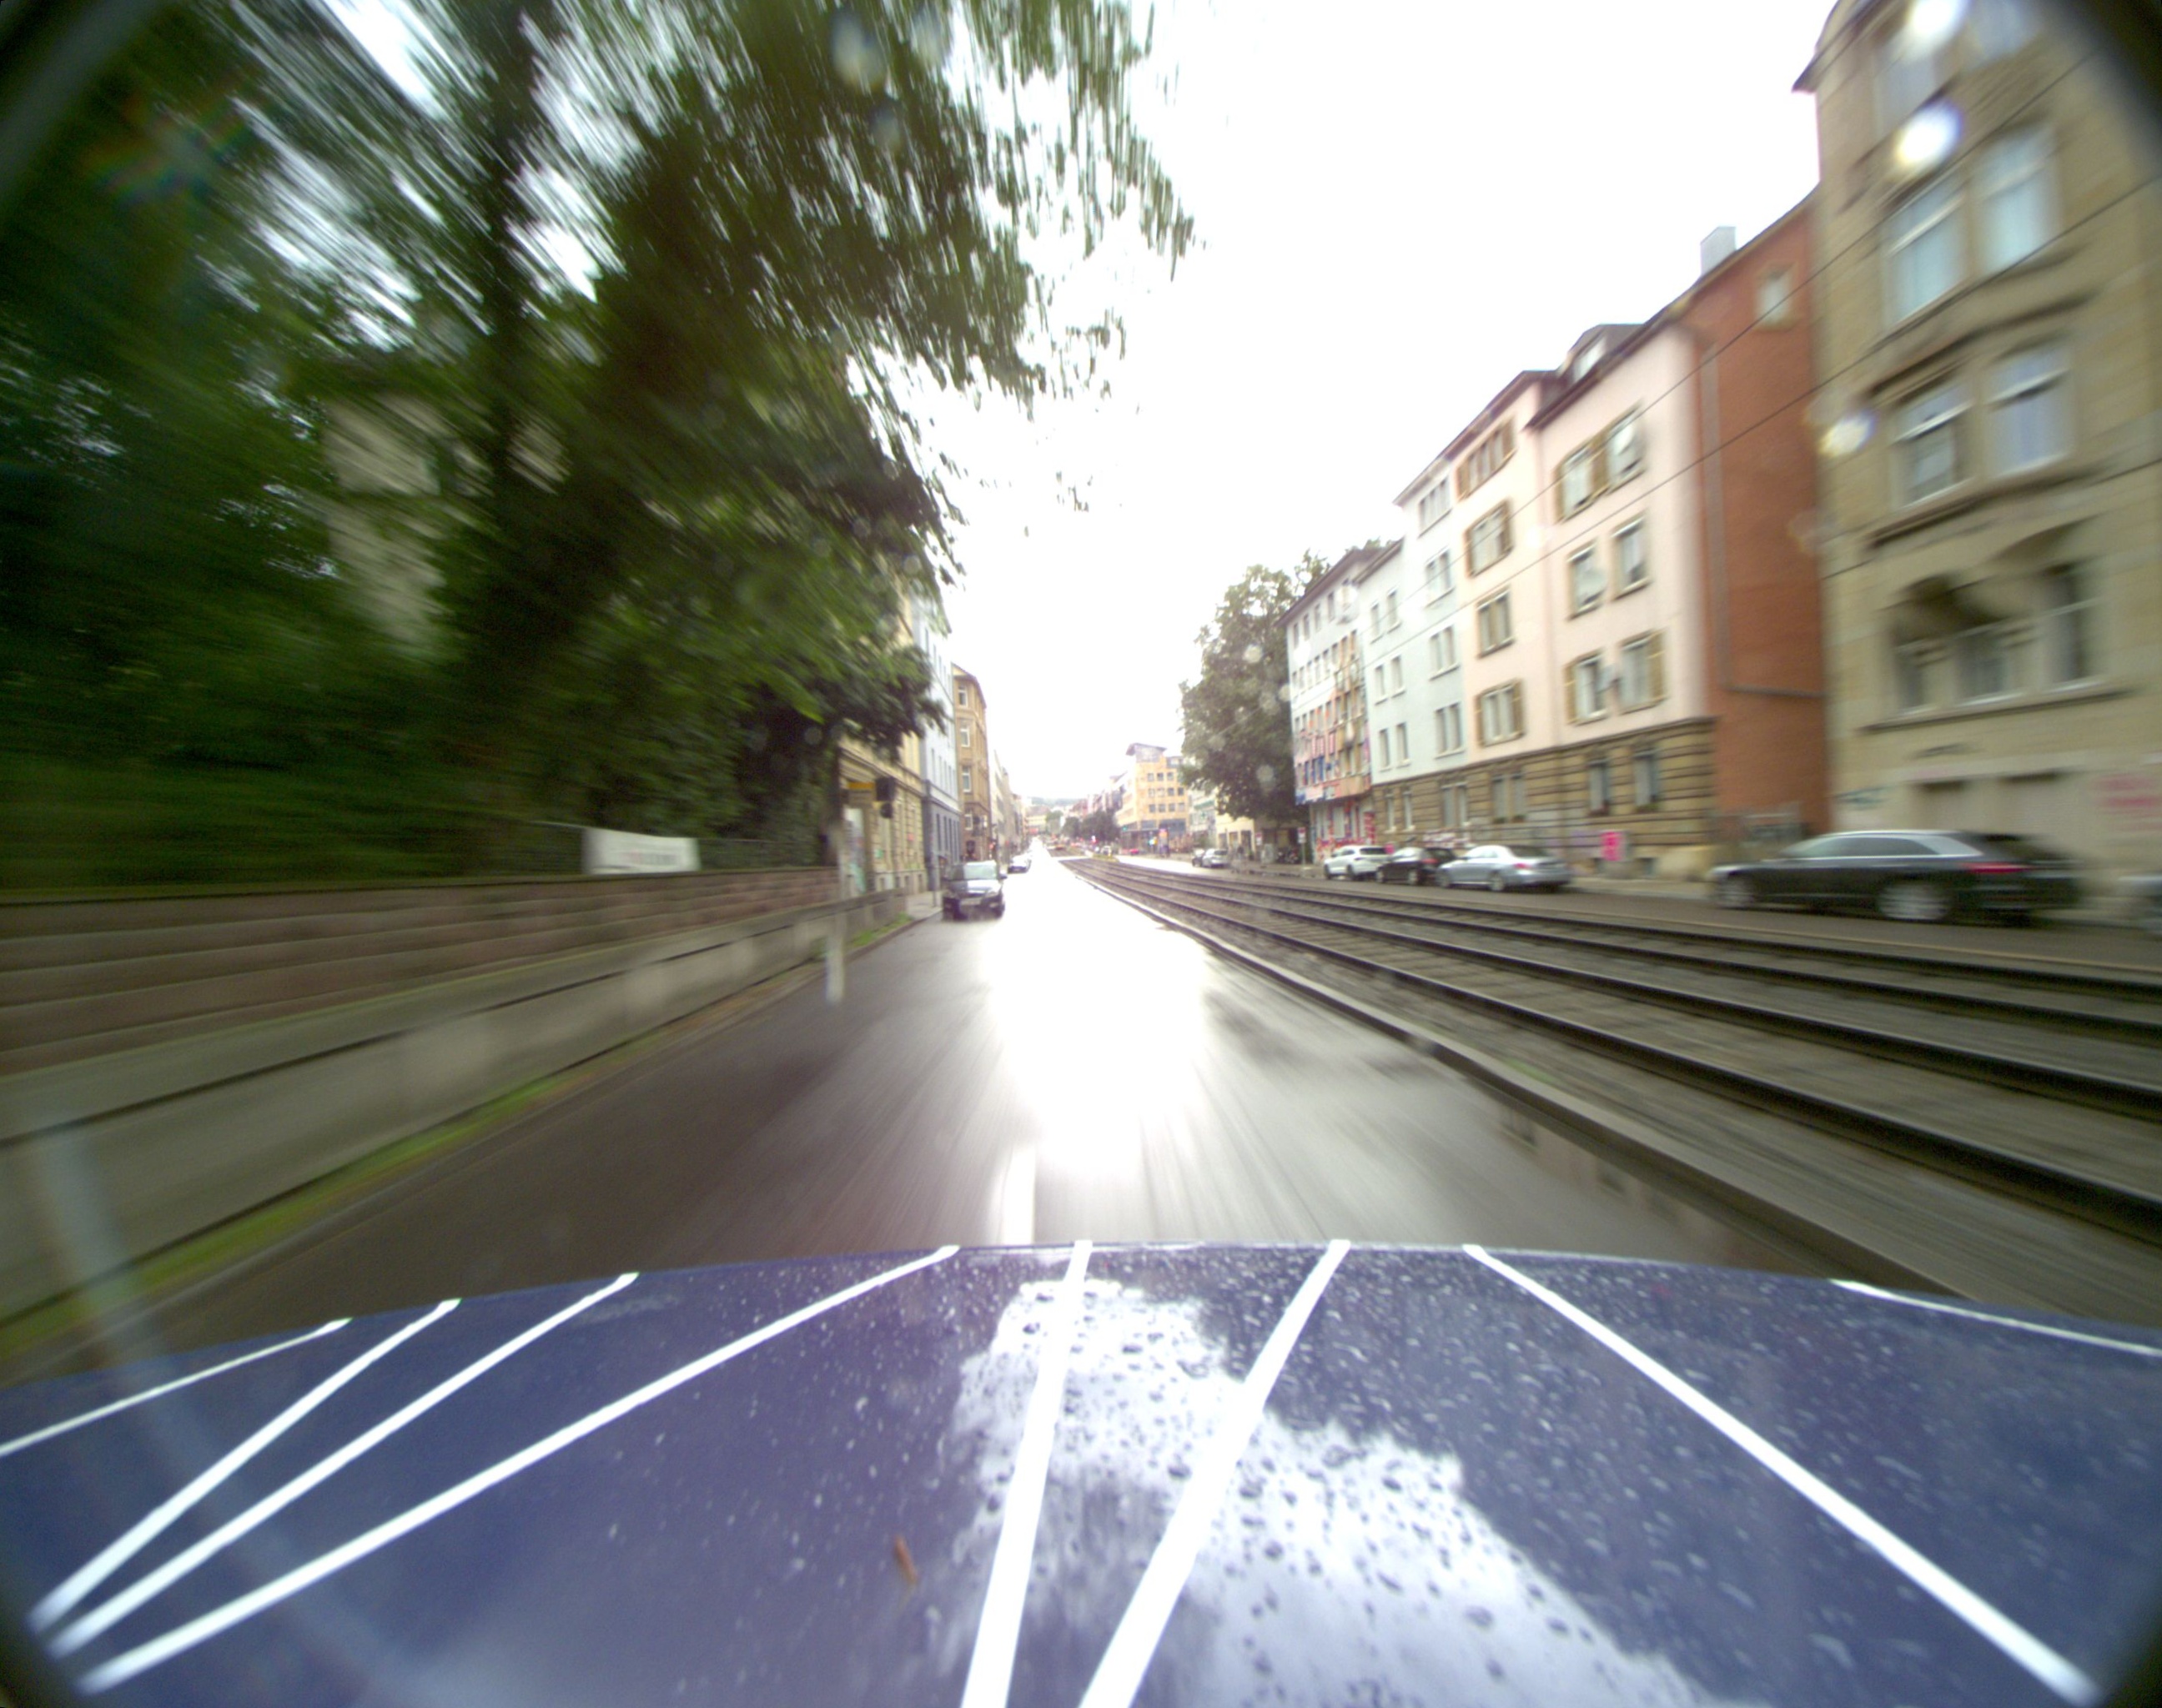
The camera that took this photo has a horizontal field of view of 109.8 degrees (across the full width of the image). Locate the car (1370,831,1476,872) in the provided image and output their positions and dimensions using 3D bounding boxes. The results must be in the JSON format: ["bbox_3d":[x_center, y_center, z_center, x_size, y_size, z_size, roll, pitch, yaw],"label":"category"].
[{"bbox_3d":[12.851,-0.119,28.839,1.843,1.389,4.263,-1,1,-4],"label":"car"}]

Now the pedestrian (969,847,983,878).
[{"bbox_3d":[-6.405,0.525,46.246,0.716,1.879,0.599,-3,1,-5],"label":"pedestrian"}]

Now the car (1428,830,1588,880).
[{"bbox_3d":[13.079,0.006,23.728,1.999,1.389,5.020,0,1,-2],"label":"car"}]

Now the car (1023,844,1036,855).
[{"bbox_3d":[-8.228,-0.723,121.674,1.999,1.674,4.123,-3,1,-2],"label":"car"}]

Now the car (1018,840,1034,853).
[{"bbox_3d":[-7.632,-1.102,106.330,1.999,1.674,4.123,-3,1,-2],"label":"car"}]

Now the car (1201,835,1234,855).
[{"bbox_3d":[11.326,-0.756,63.302,1.843,1.532,4.226,-1,1,-2],"label":"car"}]

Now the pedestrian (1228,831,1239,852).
[{"bbox_3d":[13.652,-1.123,67.925,0.809,1.858,0.536,-2,1,1],"label":"pedestrian"}]

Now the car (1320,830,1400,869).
[{"bbox_3d":[12.641,-0.221,34.742,1.843,1.596,4.226,-1,1,-4],"label":"car"}]

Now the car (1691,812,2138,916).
[{"bbox_3d":[13.612,0.106,13.064,1.999,1.447,5.019,0,1,-3],"label":"car"}]

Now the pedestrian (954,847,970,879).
[{"bbox_3d":[-7.219,0.563,46.090,0.765,1.902,0.587,-3,1,-5],"label":"pedestrian"}]

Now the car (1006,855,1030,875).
[{"bbox_3d":[-6.061,1.059,73.488,1.999,1.674,4.123,-3,1,-2],"label":"car"}]

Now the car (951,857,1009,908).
[{"bbox_3d":[-3.524,0.948,27.170,1.760,1.521,4.331,-3,1,-4],"label":"car"}]

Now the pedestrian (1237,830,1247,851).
[{"bbox_3d":[14.404,-1.184,67.924,0.651,1.858,0.536,-2,1,1],"label":"pedestrian"}]

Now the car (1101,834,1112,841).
[{"bbox_3d":[5.810,-3.768,173.953,1.999,1.674,3.998,-3,1,-2],"label":"car"}]

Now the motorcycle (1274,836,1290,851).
[{"bbox_3d":[16.067,-0.860,60.707,0.473,1.139,2.565,-3,1,-2],"label":"motorcycle"}]

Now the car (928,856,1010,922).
[{"bbox_3d":[-3.081,0.912,21.779,1.788,1.521,4.243,-3,1,-2],"label":"car"}]

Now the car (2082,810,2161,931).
[{"bbox_3d":[13.924,0.216,7.772,1.741,1.447,4.168,0,1,-3],"label":"car"}]

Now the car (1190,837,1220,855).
[{"bbox_3d":[11.118,-0.728,68.295,1.843,1.532,4.226,-1,1,-2],"label":"car"}]

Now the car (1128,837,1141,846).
[{"bbox_3d":[10.160,-2.391,144.952,1.999,1.674,3.998,-3,1,-2],"label":"car"}]

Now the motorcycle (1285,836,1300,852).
[{"bbox_3d":[16.088,-0.779,57.748,0.437,1.175,2.017,-3,1,-2],"label":"motorcycle"}]
